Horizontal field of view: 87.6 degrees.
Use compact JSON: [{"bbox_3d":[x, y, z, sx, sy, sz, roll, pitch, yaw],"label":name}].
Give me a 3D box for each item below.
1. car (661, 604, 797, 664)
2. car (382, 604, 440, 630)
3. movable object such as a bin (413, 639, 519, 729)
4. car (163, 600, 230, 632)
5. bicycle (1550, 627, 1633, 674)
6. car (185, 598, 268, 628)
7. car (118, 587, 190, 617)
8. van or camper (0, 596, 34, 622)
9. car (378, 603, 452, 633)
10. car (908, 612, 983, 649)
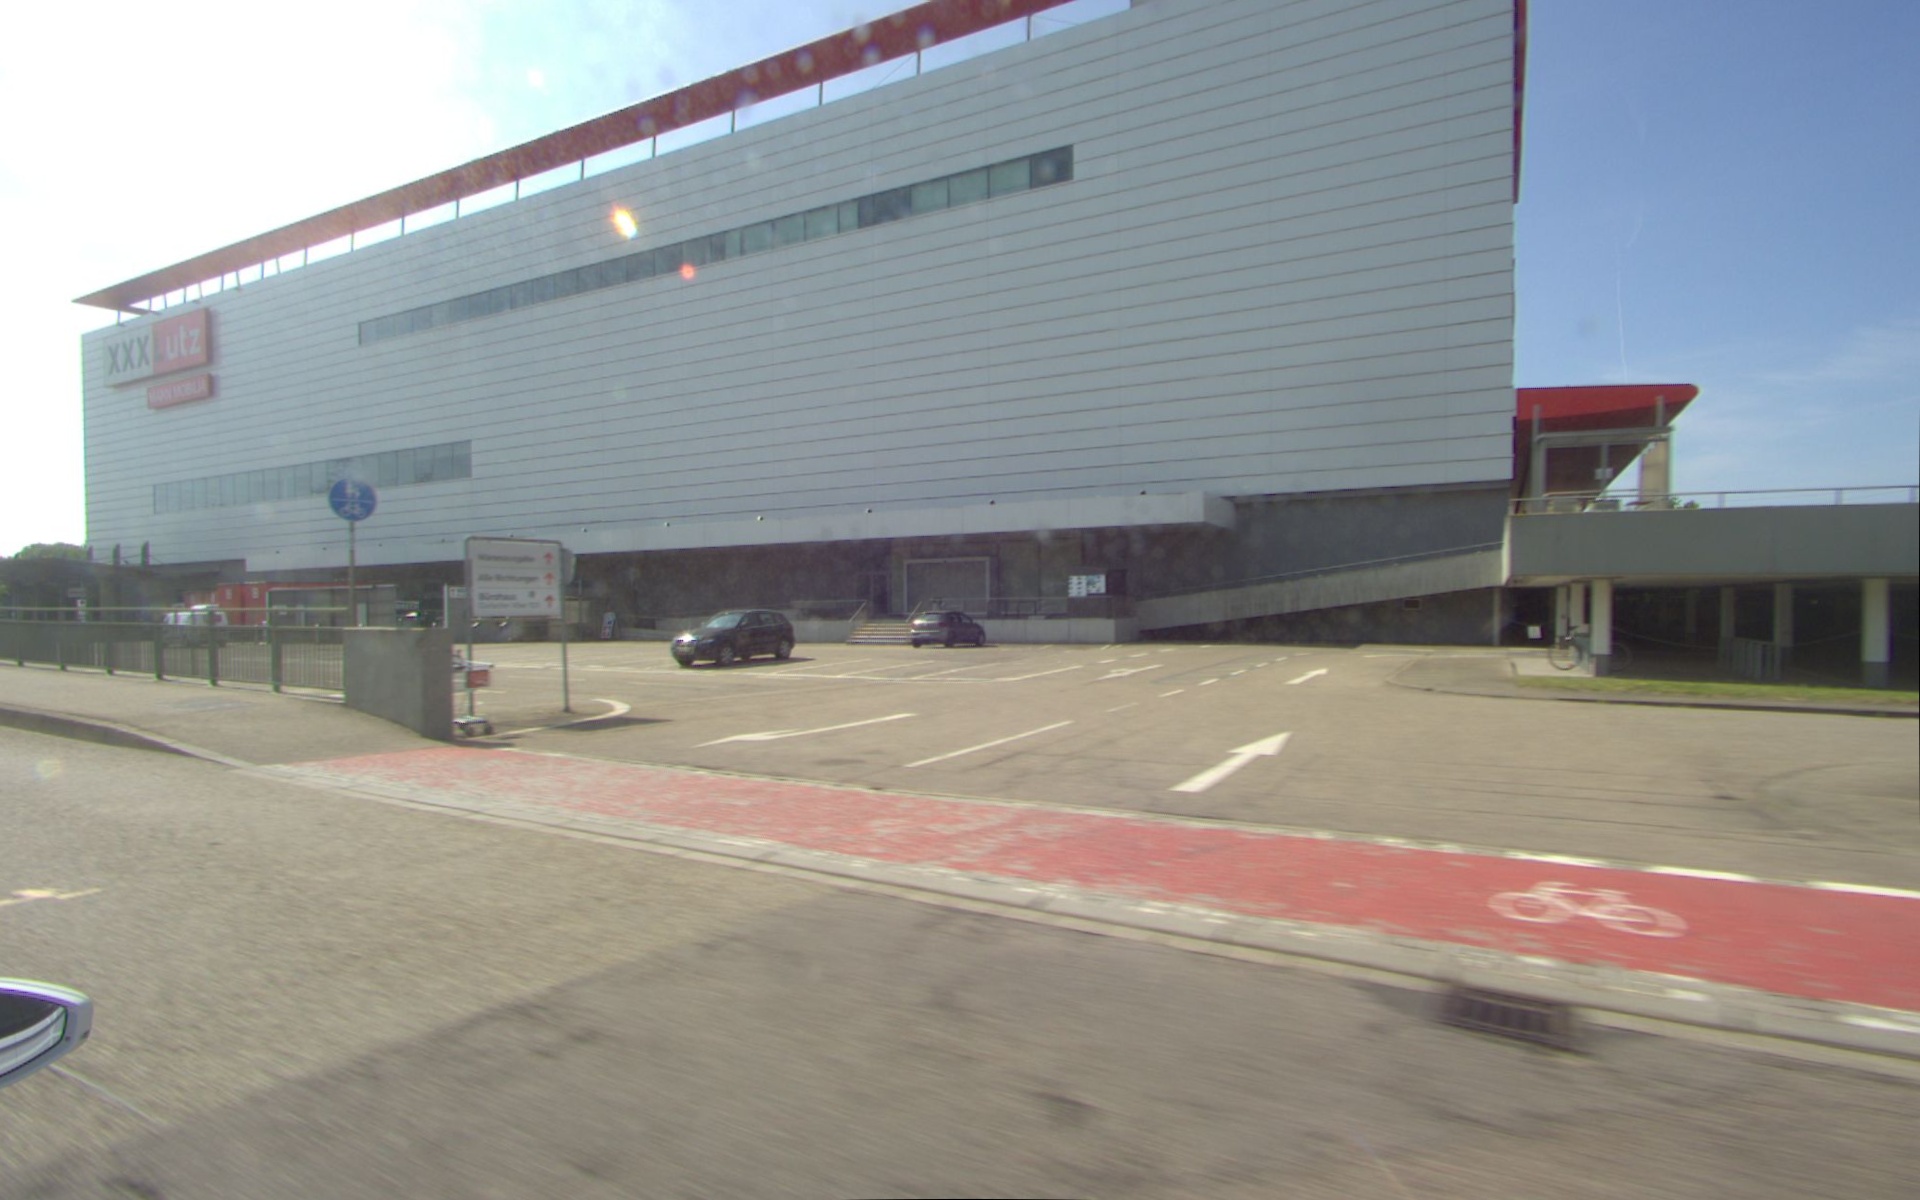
[{"bbox_3d":[-7.201,1.000,31.726,1.808,1.636,4.419,0,2,27],"label":"car"},{"bbox_3d":[-31.448,0.973,57.346,3.206,1.487,1.508,0,-1,31],"label":"car"},{"bbox_3d":[-6.682,1.108,13.543,1.165,1.128,0.808,0,0,32],"label":"movable object such as a bin"},{"bbox_3d":[-43.780,0.900,57.396,4.033,1.774,1.670,0,-1,31],"label":"car"},{"bbox_3d":[15.346,1.210,24.377,1.683,1.074,0.510,0,0,31],"label":"bicycle"},{"bbox_3d":[-49.534,0.893,67.698,1.750,1.954,4.183,0,-1,30],"label":"car"},{"bbox_3d":[-63.133,0.180,78.523,1.653,2.303,4.075,0,-1,30],"label":"car"},{"bbox_3d":[-84.255,0.737,86.903,2.066,2.205,5.438,-1,-3,13],"label":"van or camper"},{"bbox_3d":[-29.114,0.935,53.440,4.033,1.529,1.670,0,-1,31],"label":"car"},{"bbox_3d":[-0.538,1.212,40.066,1.578,1.394,3.516,0,-2,27],"label":"car"}]
